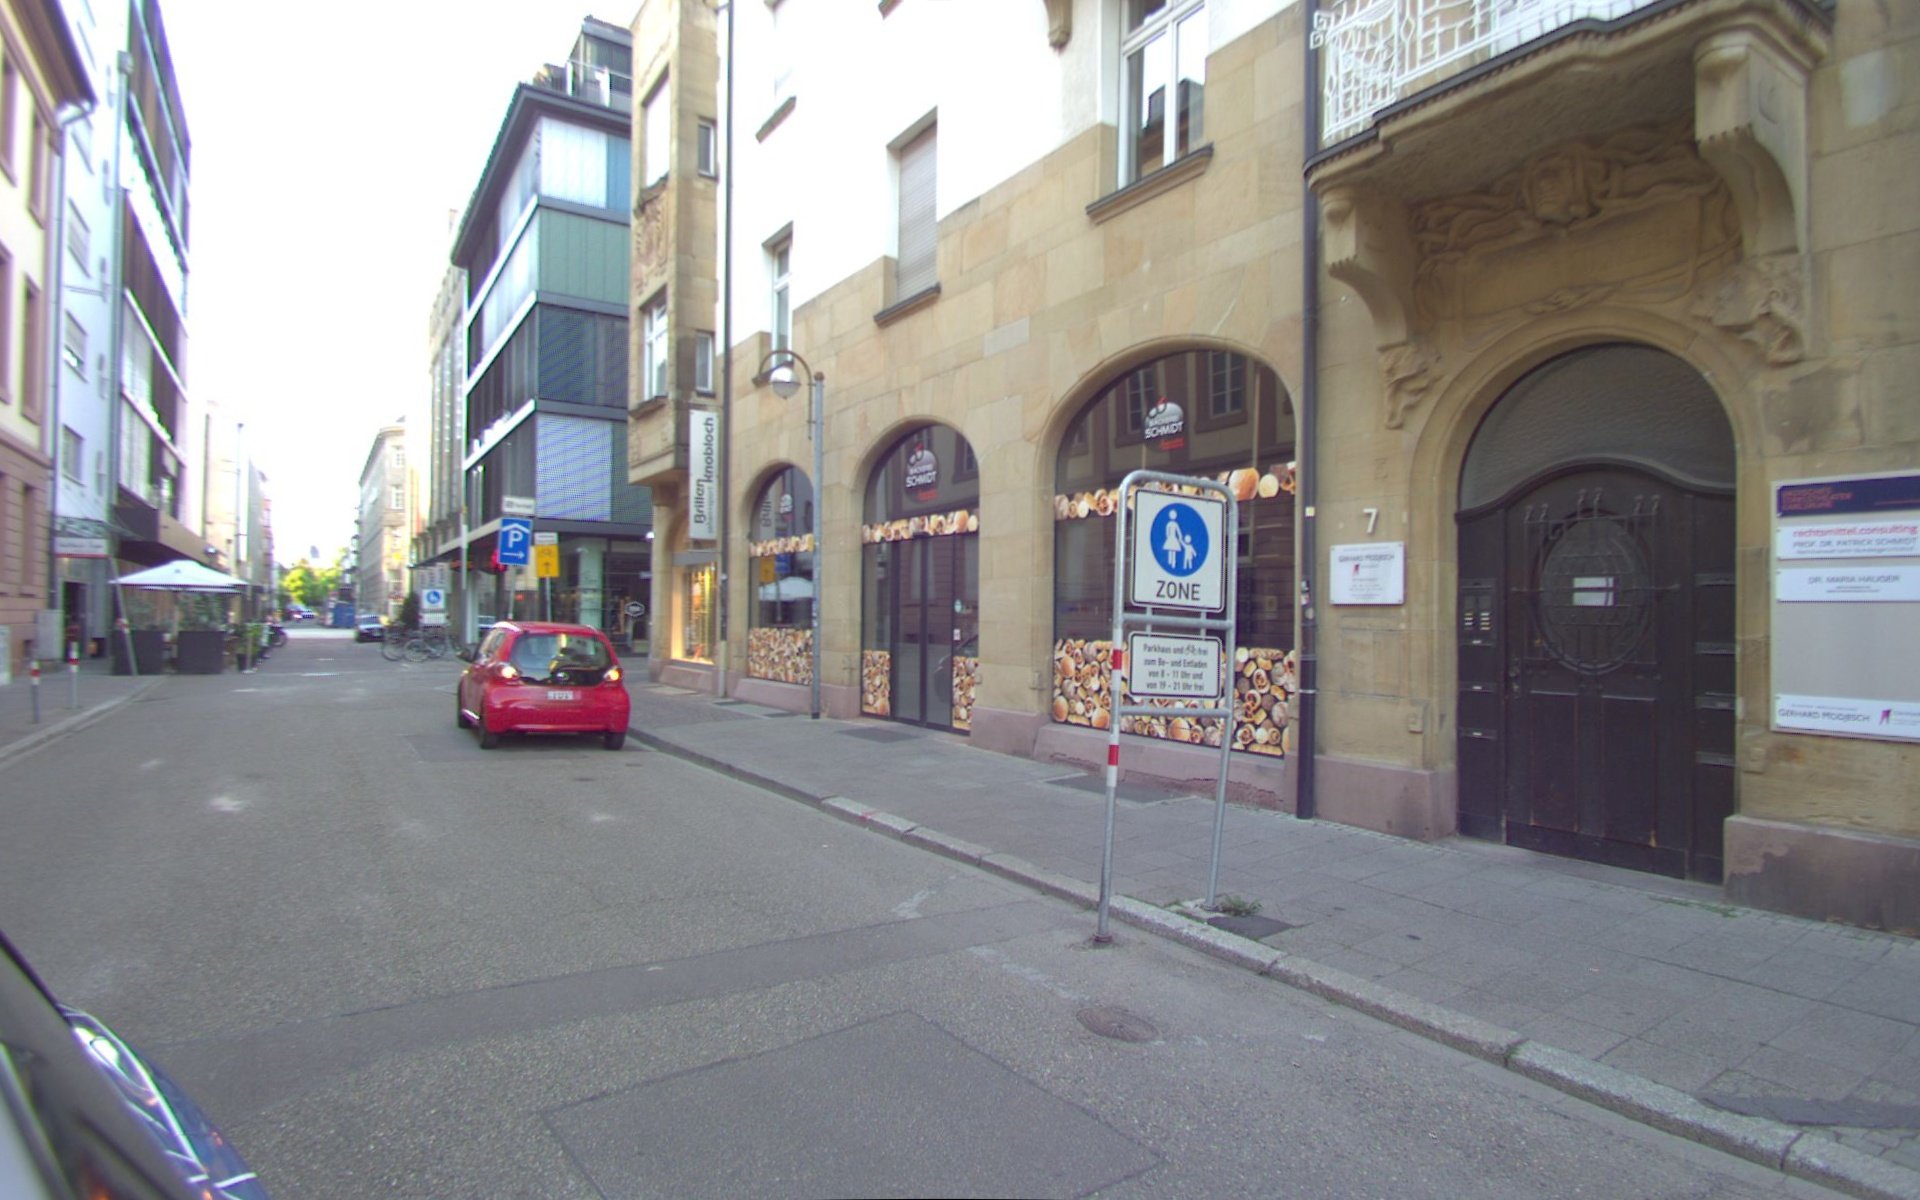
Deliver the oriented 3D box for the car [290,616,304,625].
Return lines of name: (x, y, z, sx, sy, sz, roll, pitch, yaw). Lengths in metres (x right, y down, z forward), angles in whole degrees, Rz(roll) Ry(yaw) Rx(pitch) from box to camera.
car: (-81.784, 2.479, 124.898, 1.403, 1.104, 3.572, 0, -1, -33)

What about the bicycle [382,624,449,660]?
bicycle: (-18.163, 1.382, 33.770, 1.921, 1.139, 0.528, 0, -1, -32)

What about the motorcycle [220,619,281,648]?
motorcycle: (-32.374, 1.526, 46.212, 2.157, 1.292, 0.653, 2, -2, -31)

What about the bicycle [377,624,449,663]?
bicycle: (-16.929, 1.339, 31.310, 1.921, 1.139, 0.622, 0, -1, -32)

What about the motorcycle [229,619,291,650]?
motorcycle: (-30.546, 1.498, 44.187, 2.157, 1.292, 0.653, 2, -2, -31)

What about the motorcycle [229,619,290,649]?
motorcycle: (-31.109, 1.509, 44.974, 2.157, 1.292, 0.653, 2, -2, -31)

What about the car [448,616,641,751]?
car: (-5.270, 0.978, 12.644, 1.611, 1.452, 3.165, 5, -3, -32)

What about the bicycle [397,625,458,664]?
bicycle: (-15.899, 1.317, 30.228, 1.581, 1.127, 0.622, 0, -1, -32)

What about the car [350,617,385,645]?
car: (-31.754, 1.641, 54.195, 1.403, 1.428, 3.905, 0, -1, -33)
